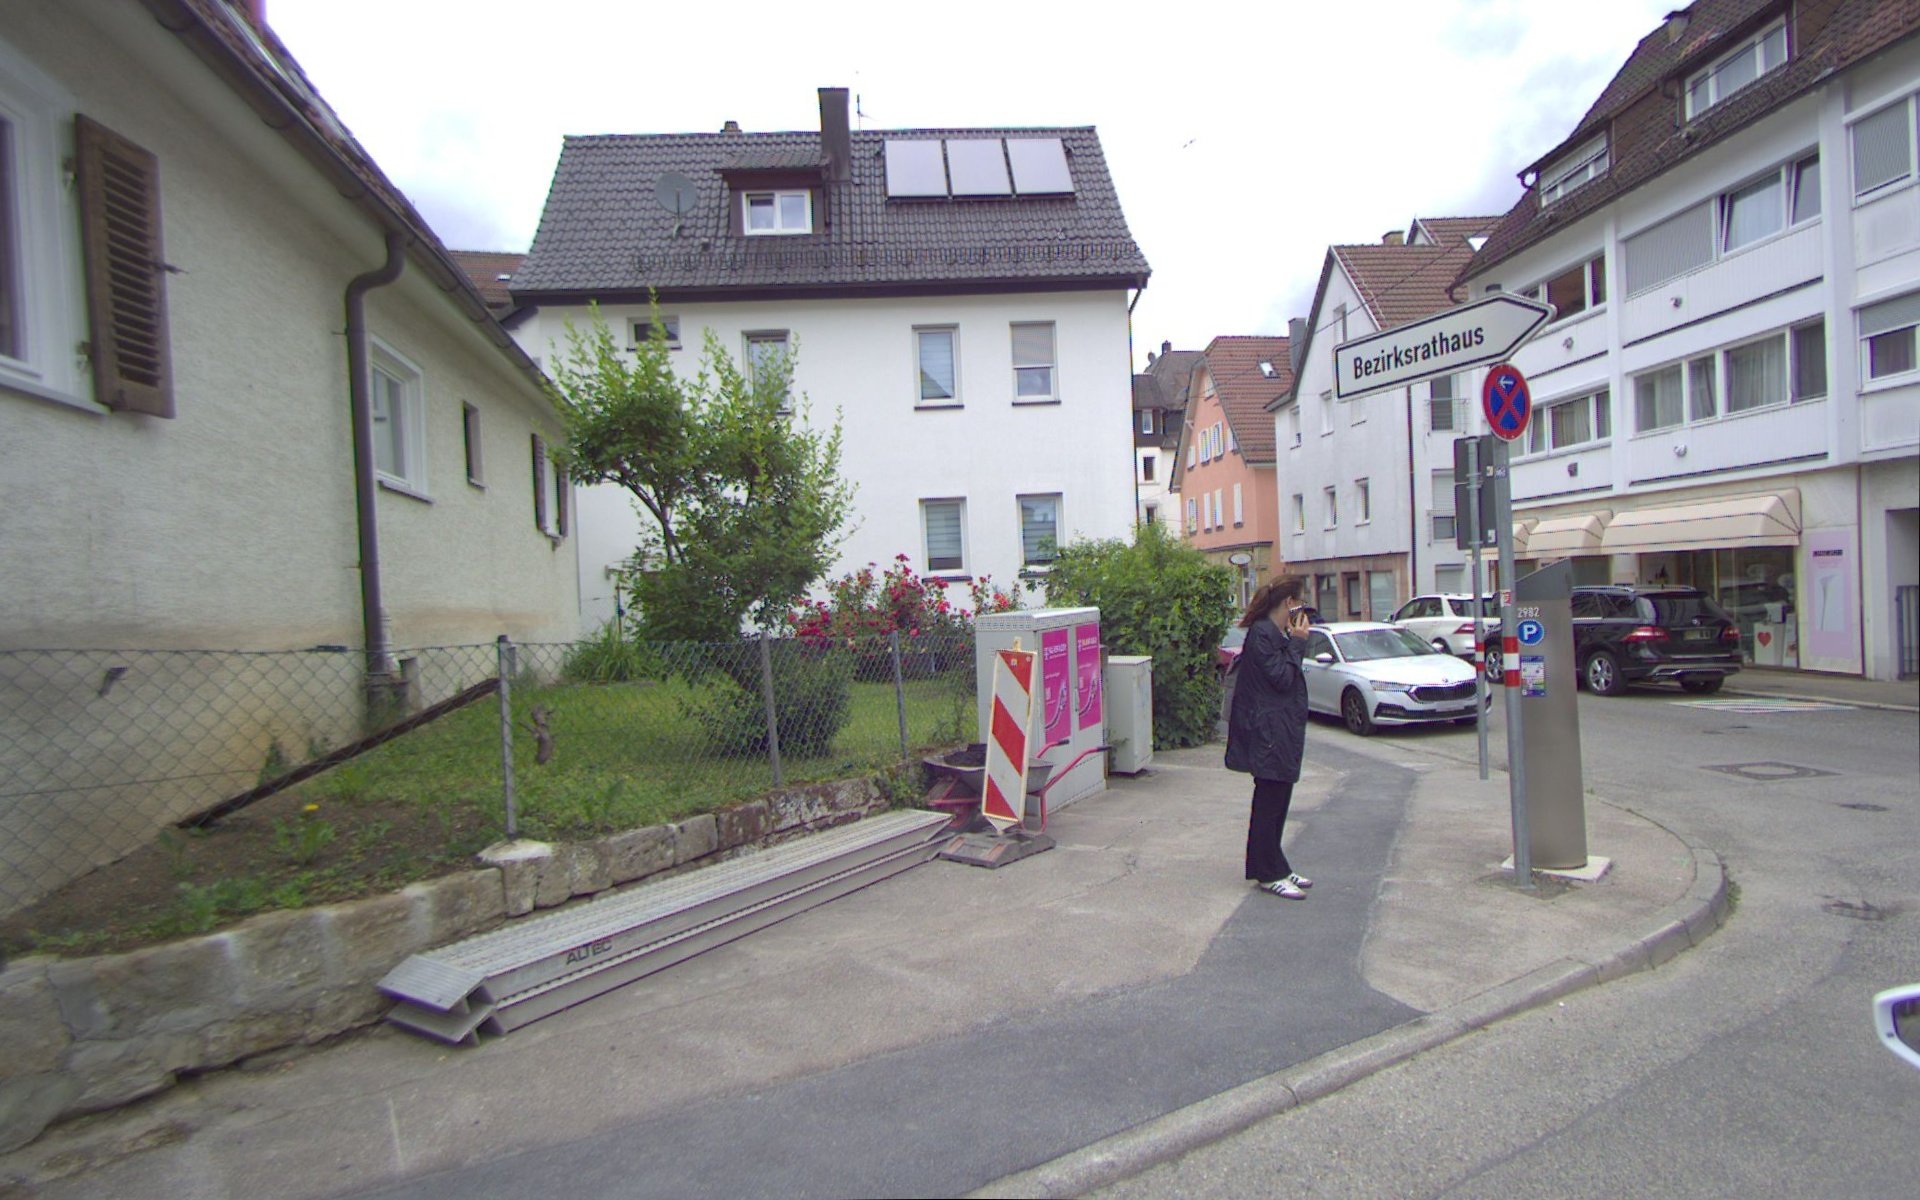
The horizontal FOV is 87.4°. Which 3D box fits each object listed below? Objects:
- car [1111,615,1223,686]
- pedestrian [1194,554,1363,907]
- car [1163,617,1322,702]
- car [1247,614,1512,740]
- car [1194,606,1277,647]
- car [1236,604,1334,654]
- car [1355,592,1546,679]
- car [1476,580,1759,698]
[{"bbox_3d":[5.188,1.212,25.656,1.740,1.515,3.980,-5,0,-3],"label":"car"},{"bbox_3d":[1.675,0.636,5.298,0.599,1.707,0.640,0,-1,-42],"label":"pedestrian"},{"bbox_3d":[5.621,1.122,20.540,1.740,1.436,4.169,-4,-1,-4],"label":"car"},{"bbox_3d":[6.028,1.020,15.076,1.765,1.480,4.292,-4,-1,-6],"label":"car"},{"bbox_3d":[10.295,0.958,37.814,1.721,1.409,4.029,-1,-1,-5],"label":"car"},{"bbox_3d":[10.515,0.912,32.731,1.746,1.494,3.780,-2,-1,-3],"label":"car"},{"bbox_3d":[10.924,0.727,22.787,1.903,1.735,4.374,-2,0,-5],"label":"car"},{"bbox_3d":[11.280,0.644,17.687,1.910,1.803,4.367,-1,-1,-4],"label":"car"}]
